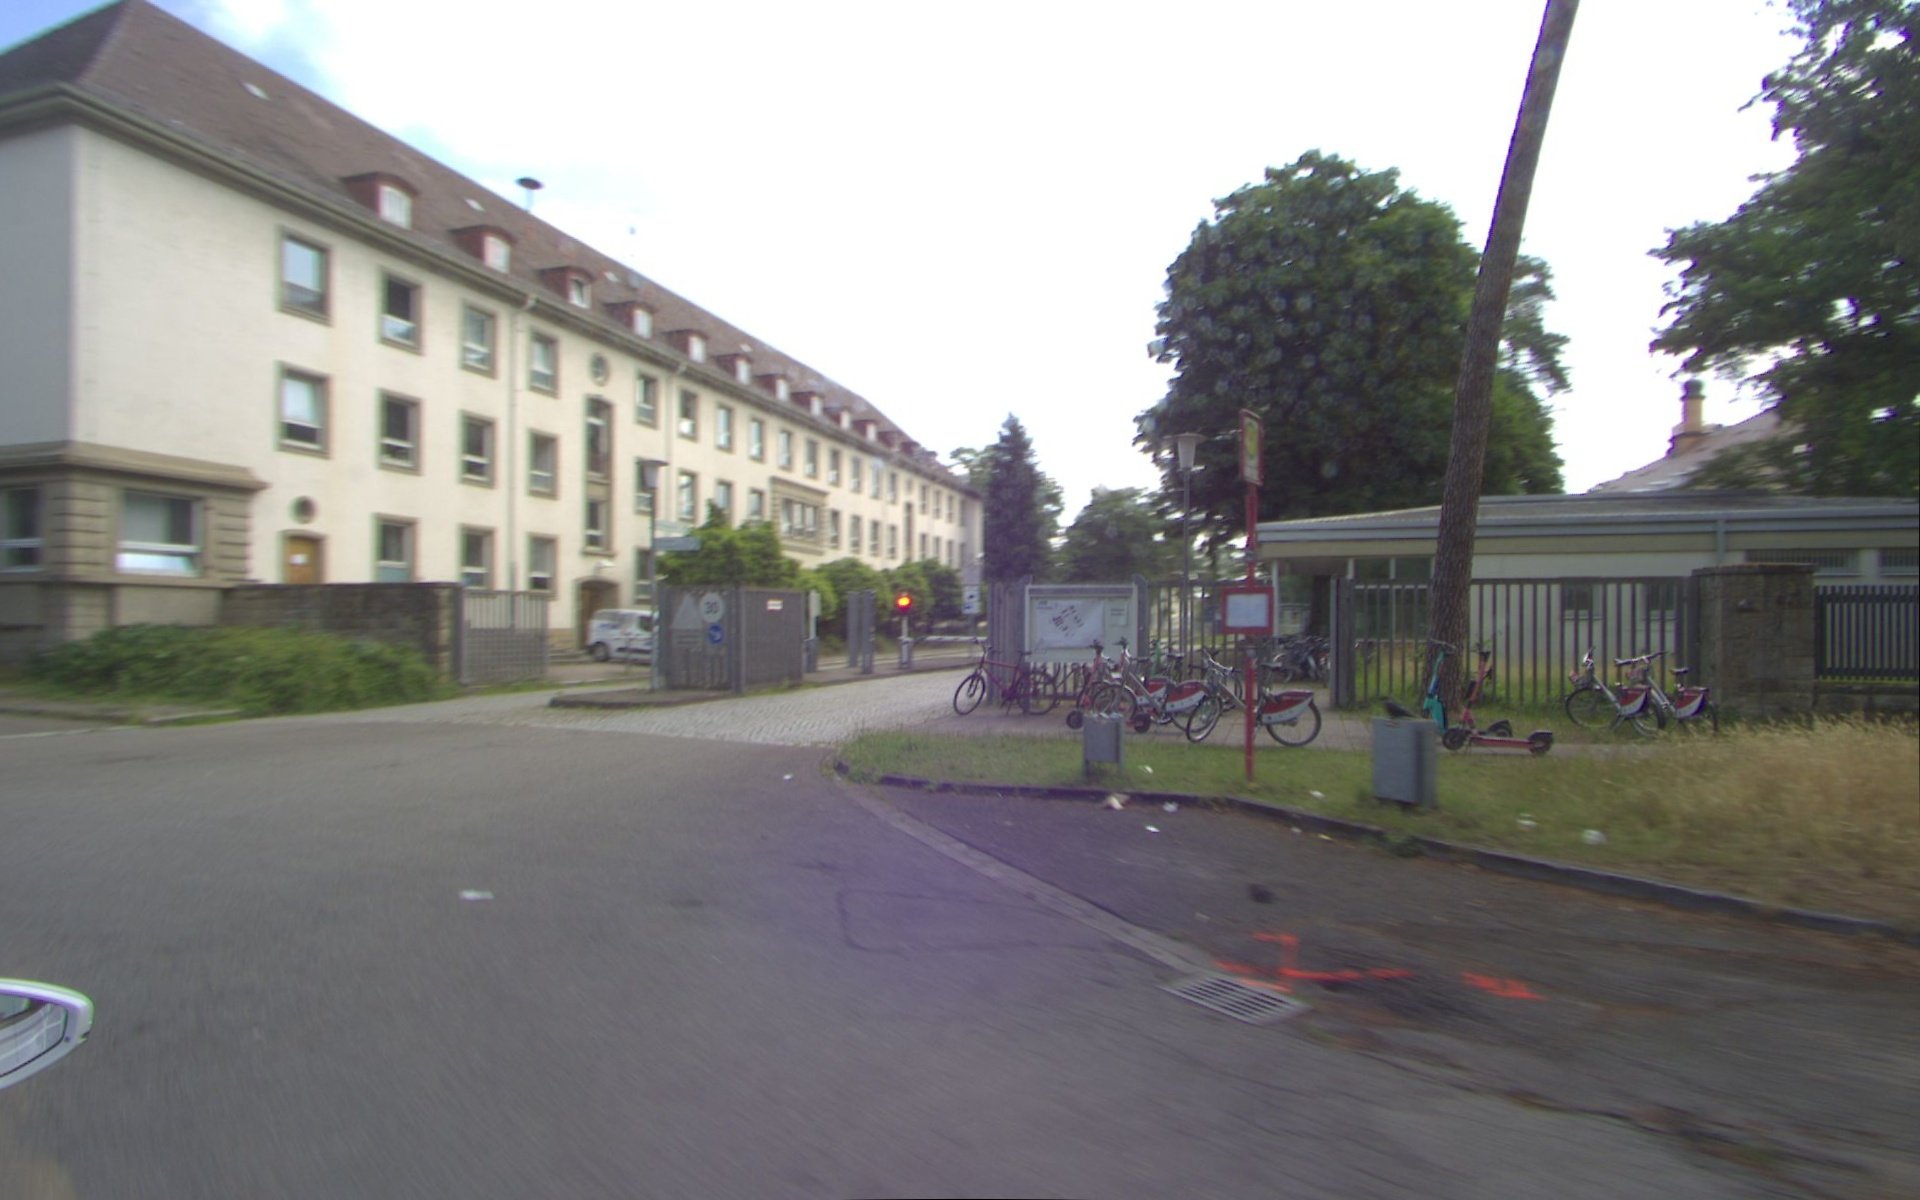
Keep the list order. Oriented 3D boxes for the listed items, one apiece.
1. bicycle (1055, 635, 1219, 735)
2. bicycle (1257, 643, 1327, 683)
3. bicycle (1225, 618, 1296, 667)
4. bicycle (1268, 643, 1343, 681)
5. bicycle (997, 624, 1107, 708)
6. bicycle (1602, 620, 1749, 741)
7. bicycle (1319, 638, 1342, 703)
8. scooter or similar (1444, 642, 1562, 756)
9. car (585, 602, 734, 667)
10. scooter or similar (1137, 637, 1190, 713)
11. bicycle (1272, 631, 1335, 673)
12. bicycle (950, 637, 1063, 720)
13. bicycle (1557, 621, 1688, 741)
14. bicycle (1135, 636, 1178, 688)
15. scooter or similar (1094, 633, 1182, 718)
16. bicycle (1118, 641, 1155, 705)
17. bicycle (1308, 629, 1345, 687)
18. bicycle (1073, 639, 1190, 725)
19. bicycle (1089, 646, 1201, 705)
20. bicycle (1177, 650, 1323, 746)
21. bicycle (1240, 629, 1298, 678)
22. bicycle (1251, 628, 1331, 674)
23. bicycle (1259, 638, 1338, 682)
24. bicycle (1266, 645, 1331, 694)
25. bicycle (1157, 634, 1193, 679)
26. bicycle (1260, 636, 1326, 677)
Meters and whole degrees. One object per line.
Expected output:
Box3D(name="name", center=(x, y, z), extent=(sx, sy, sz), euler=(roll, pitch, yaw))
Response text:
Box3D(name="bicycle", center=(2.418, 1.138, 13.677), extent=(2.134, 1.256, 0.635), euler=(1, -2, 14))
Box3D(name="bicycle", center=(8.904, 1.693, 26.891), extent=(1.742, 1.044, 0.353), euler=(0, -3, 12))
Box3D(name="bicycle", center=(7.382, 1.045, 24.612), extent=(1.622, 1.185, 0.436), euler=(0, -2, -10))
Box3D(name="bicycle", center=(9.734, 1.738, 28.236), extent=(1.947, 1.042, 0.401), euler=(0, -3, 8))
Box3D(name="bicycle", center=(1.624, 1.146, 17.754), extent=(1.875, 1.435, 0.514), euler=(-1, -2, 24))
Box3D(name="bicycle", center=(9.233, 0.982, 13.022), extent=(0.567, 1.436, 1.983), euler=(0, 0, 3))
Box3D(name="bicycle", center=(8.609, 1.656, 23.313), extent=(0.428, 1.089, 1.606), euler=(-1, -21, 18))
Box3D(name="scooter or similar", center=(6.119, 1.108, 11.326), extent=(1.070, 1.243, 0.438), euler=(-1, -2, 14))
Box3D(name="car", center=(-10.016, 1.115, 33.499), extent=(4.368, 1.774, 1.857), euler=(4, 0, 15))
Box3D(name="scooter or similar", center=(3.282, 1.189, 16.242), extent=(0.430, 1.165, 1.252), euler=(1, -1, -9))
Box3D(name="bicycle", center=(9.889, 1.507, 28.835), extent=(1.672, 1.174, 0.401), euler=(1, -3, -1))
Box3D(name="bicycle", center=(0.752, 1.248, 16.099), extent=(1.708, 1.294, 0.672), euler=(-1, -1, 15))
Box3D(name="bicycle", center=(8.641, 1.013, 13.152), extent=(0.577, 1.436, 1.798), euler=(0, 0, 3))
Box3D(name="bicycle", center=(4.298, 1.334, 21.842), extent=(0.719, 1.070, 1.592), euler=(0, -1, 18))
Box3D(name="scooter or similar", center=(2.716, 1.129, 15.285), extent=(1.263, 1.262, 0.385), euler=(-1, -1, 26))
Box3D(name="bicycle", center=(3.597, 1.453, 20.344), extent=(0.494, 1.186, 1.713), euler=(0, 0, 18))
Box3D(name="bicycle", center=(7.935, 1.261, 21.654), extent=(0.430, 1.185, 1.717), euler=(-1, -4, 31))
Box3D(name="bicycle", center=(2.518, 1.180, 14.736), extent=(1.586, 1.178, 0.620), euler=(-1, 0, 30))
Box3D(name="bicycle", center=(3.309, 1.338, 17.954), extent=(1.918, 0.980, 0.456), euler=(0, -1, 20))
Box3D(name="bicycle", center=(3.512, 1.163, 12.189), extent=(1.652, 1.098, 0.740), euler=(0, -2, 17))
Box3D(name="bicycle", center=(7.712, 1.329, 24.981), extent=(1.371, 1.185, 0.436), euler=(0, -3, 19))
Box3D(name="bicycle", center=(8.601, 1.329, 26.083), extent=(1.918, 1.185, 0.486), euler=(0, -3, 13))
Box3D(name="bicycle", center=(9.218, 1.637, 27.312), extent=(1.983, 1.185, 0.401), euler=(0, -3, 6))
Box3D(name="bicycle", center=(7.974, 1.644, 23.585), extent=(1.628, 1.133, 0.434), euler=(2, -3, -27))
Box3D(name="bicycle", center=(5.429, 1.402, 25.210), extent=(0.719, 1.086, 1.711), euler=(0, -1, 18))
Box3D(name="bicycle", center=(9.784, 1.655, 29.454), extent=(1.771, 1.185, 0.584), euler=(0, -3, 7))
